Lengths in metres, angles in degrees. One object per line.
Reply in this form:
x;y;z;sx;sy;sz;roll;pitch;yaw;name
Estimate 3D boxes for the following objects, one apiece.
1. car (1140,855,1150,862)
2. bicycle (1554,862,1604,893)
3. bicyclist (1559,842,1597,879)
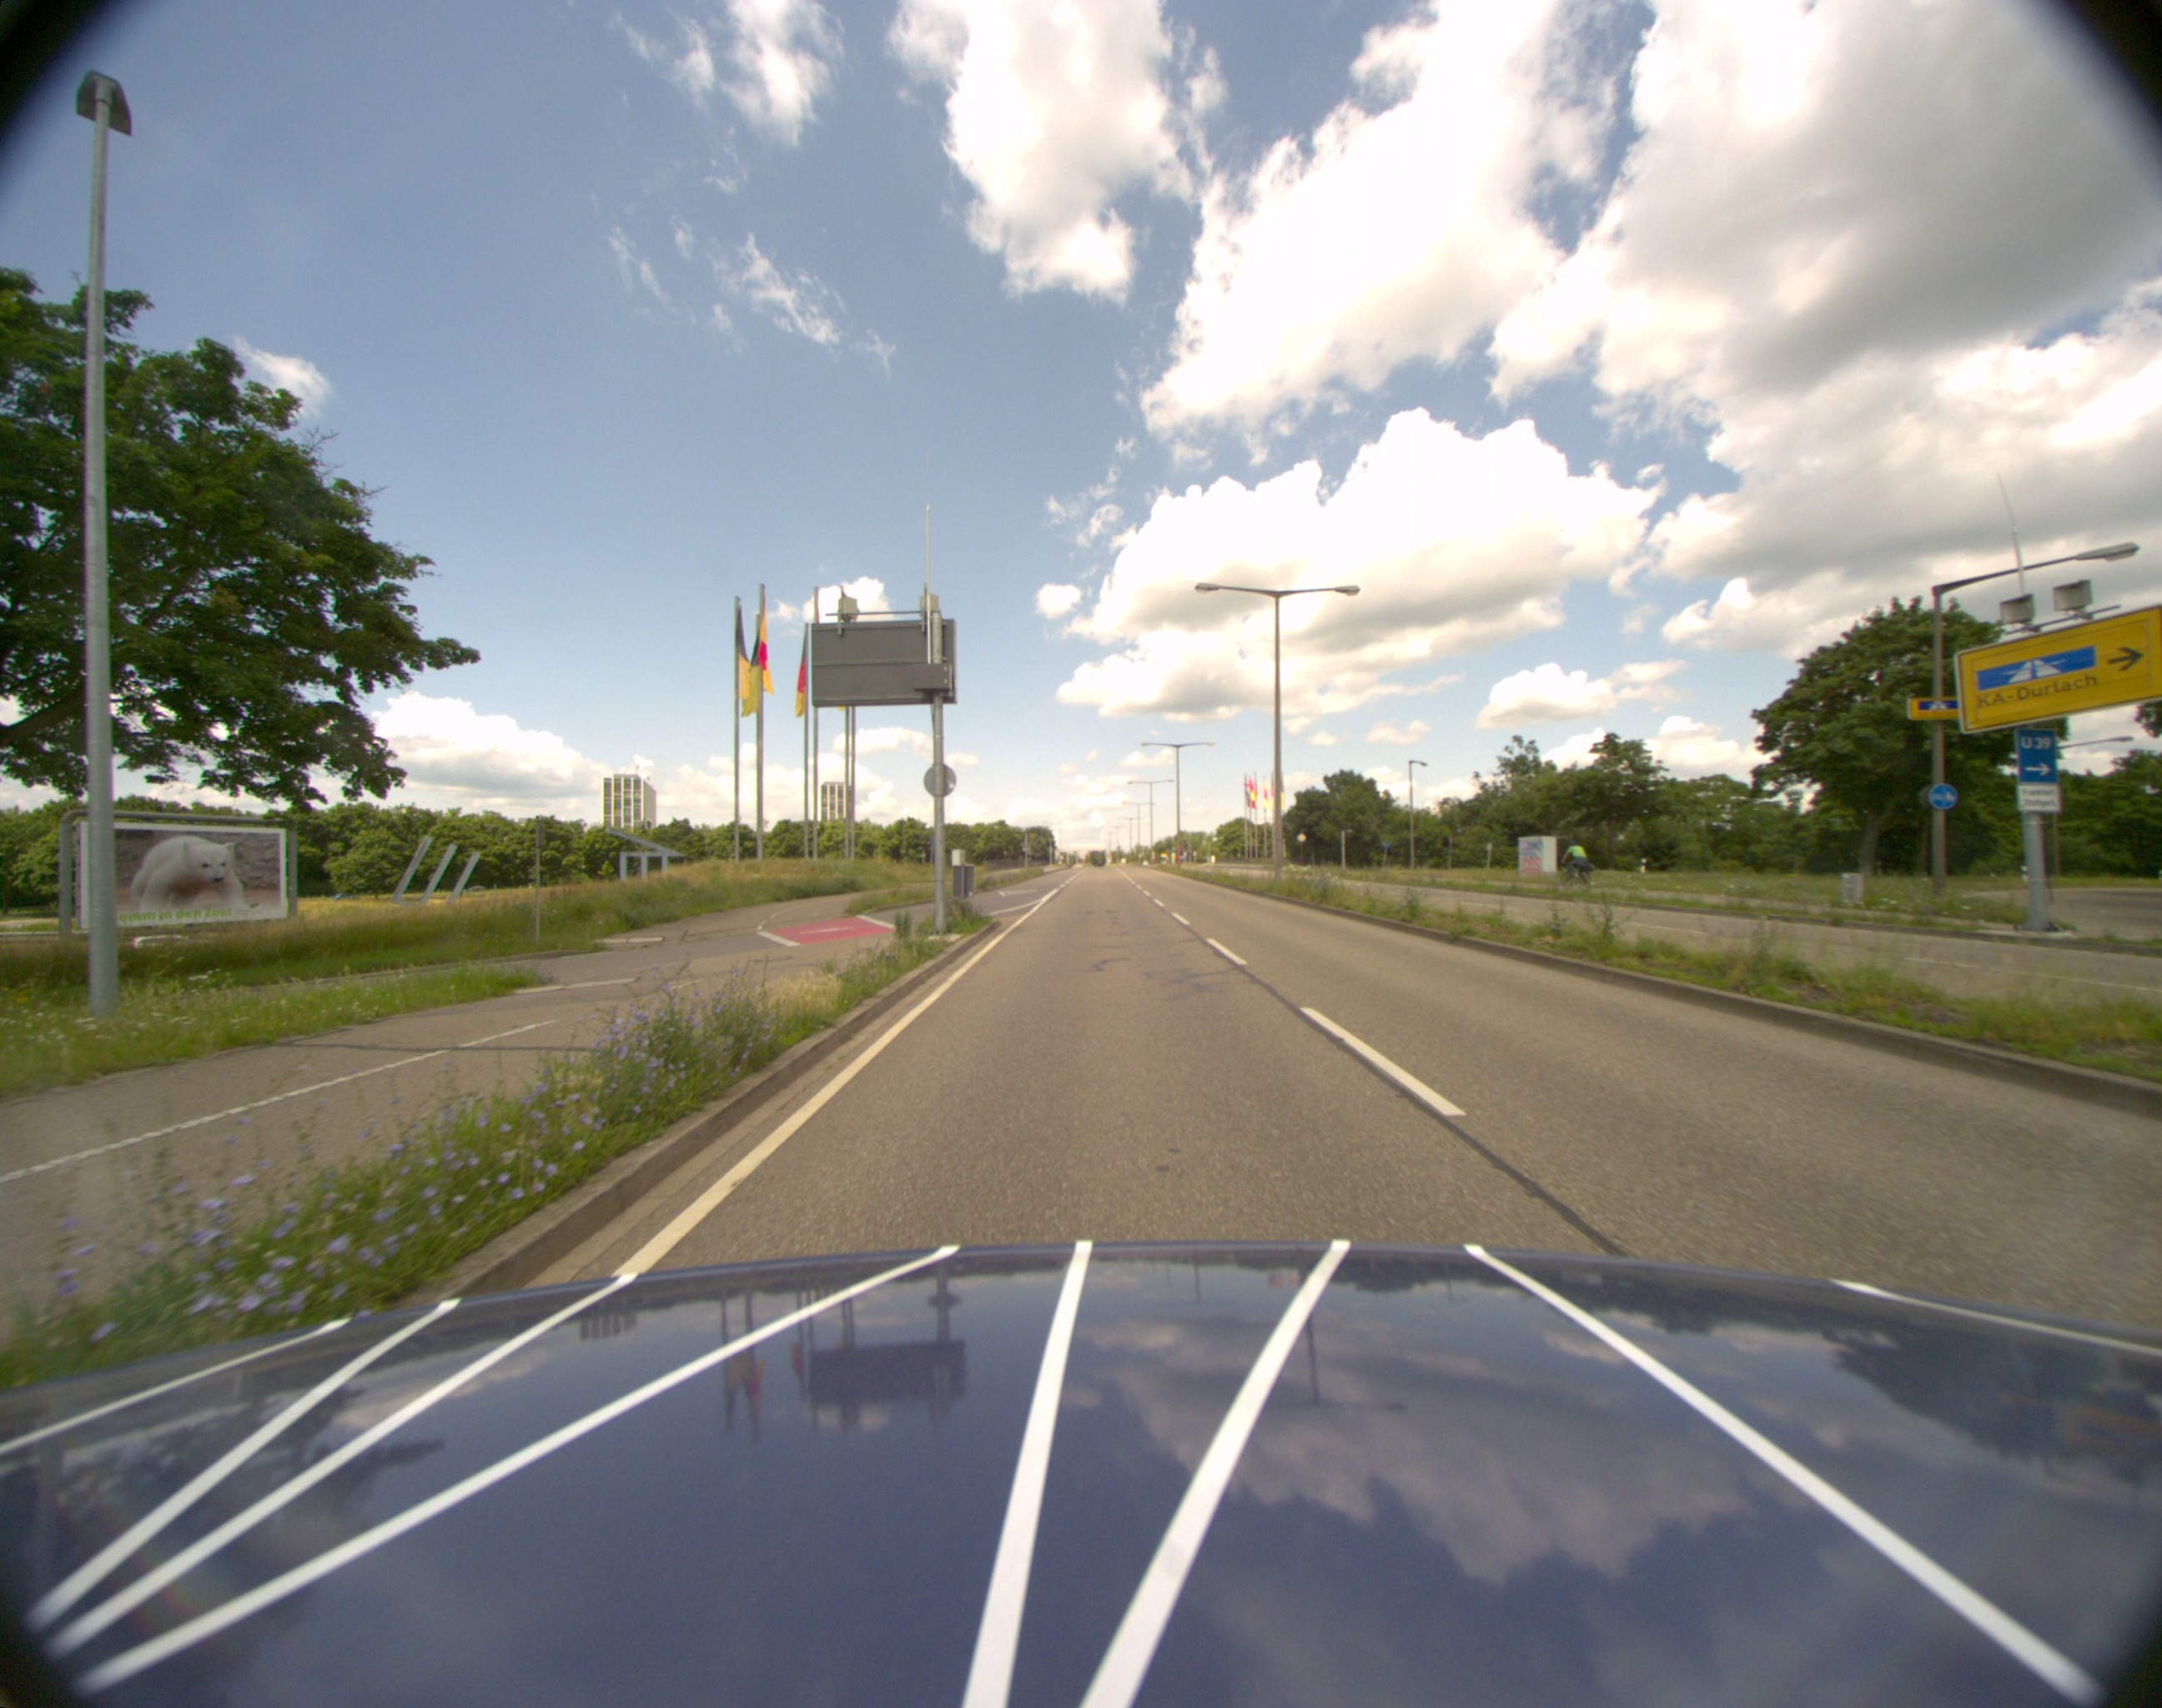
17.941;1.252;213.513;2.094;1.616;4.549;6;-1;-2;car
17.619;0.822;26.945;0.433;1.062;1.908;-2;-1;-2;bicycle
17.606;0.244;26.931;0.522;1.265;1.107;-2;-1;-2;bicyclist
